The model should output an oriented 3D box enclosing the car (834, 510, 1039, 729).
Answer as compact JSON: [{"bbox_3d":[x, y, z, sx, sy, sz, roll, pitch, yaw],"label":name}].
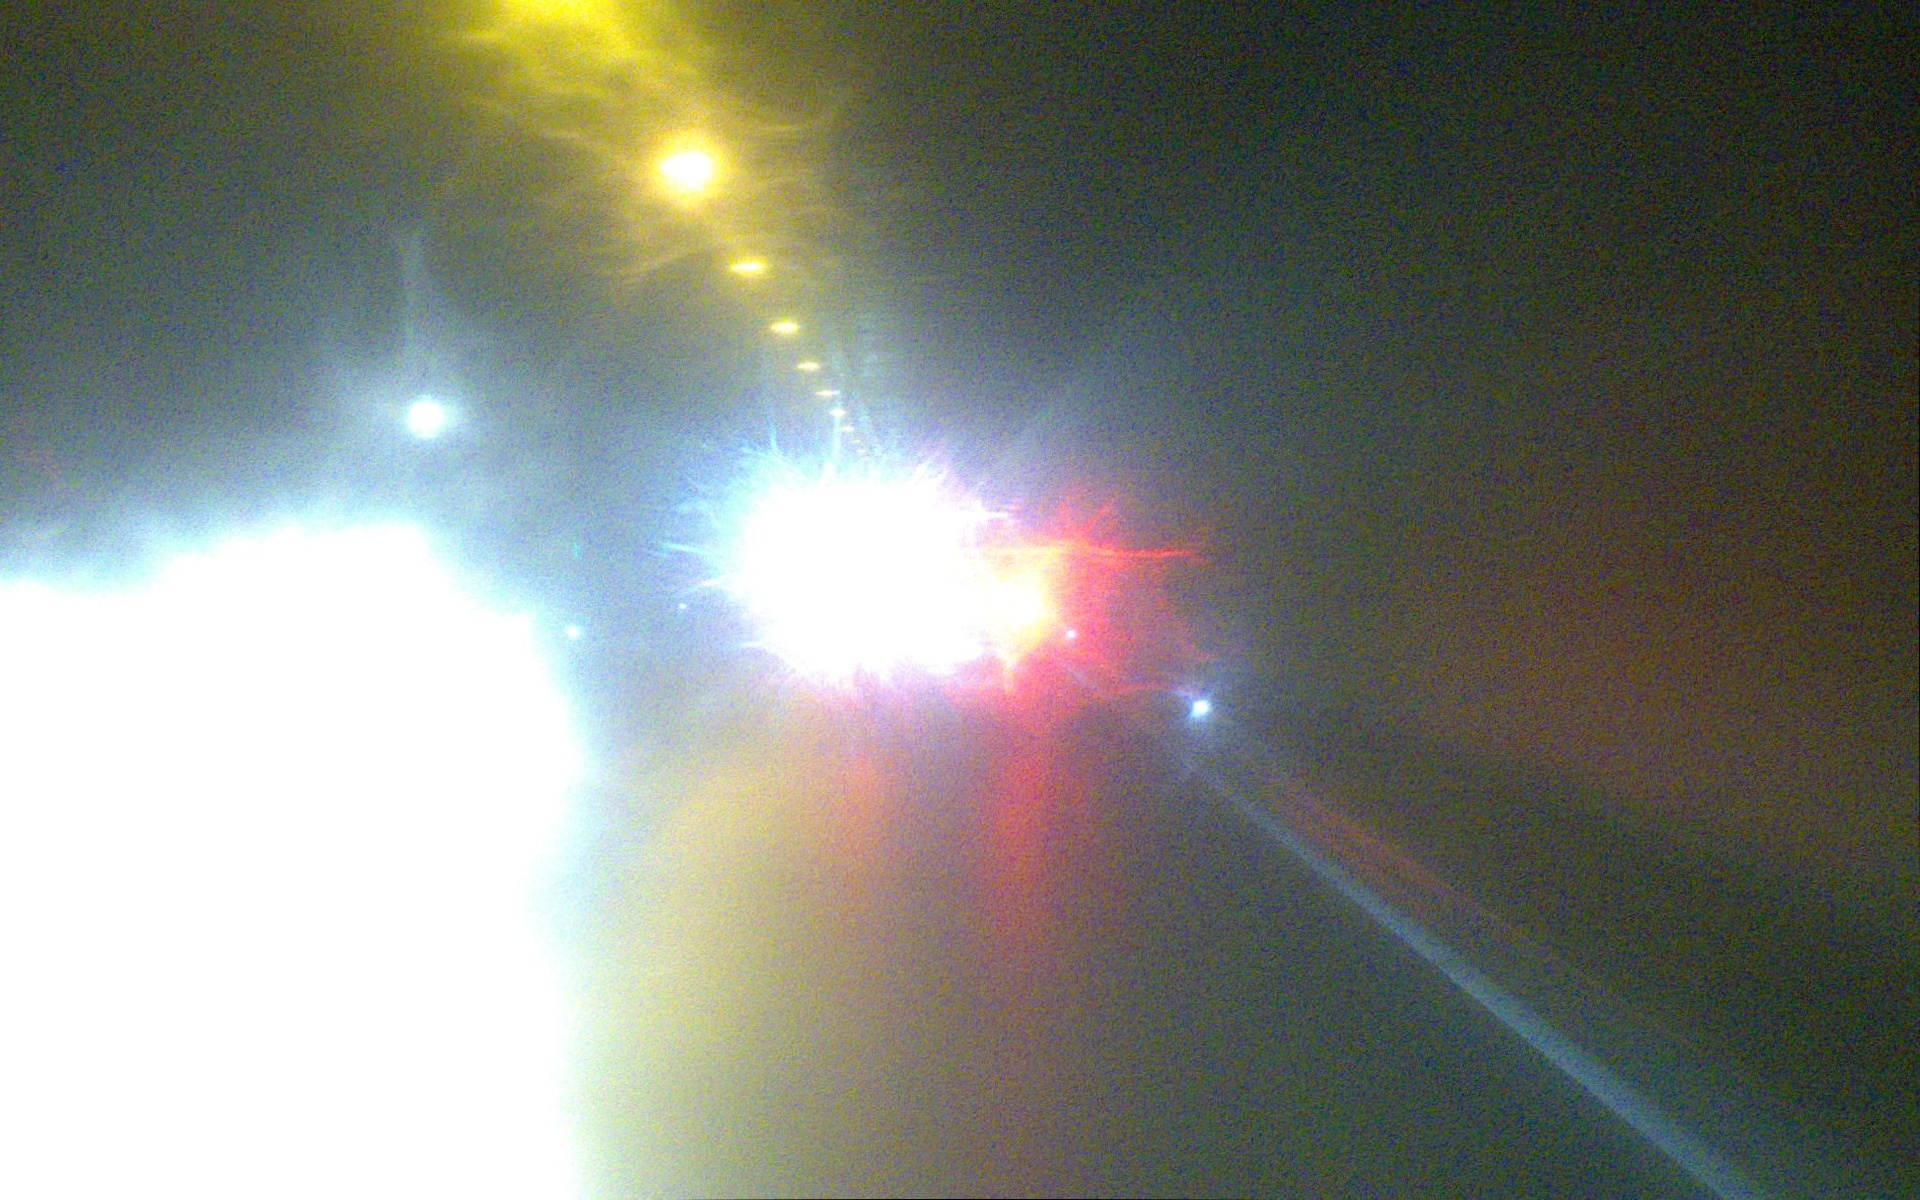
[{"bbox_3d":[-0.189,0.108,30.001,1.635,1.752,4.146,-1,2,0],"label":"car"}]

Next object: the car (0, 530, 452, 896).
[{"bbox_3d":[-3.554,0.452,16.608,1.635,1.529,3.646,-1,2,0],"label":"car"}]
